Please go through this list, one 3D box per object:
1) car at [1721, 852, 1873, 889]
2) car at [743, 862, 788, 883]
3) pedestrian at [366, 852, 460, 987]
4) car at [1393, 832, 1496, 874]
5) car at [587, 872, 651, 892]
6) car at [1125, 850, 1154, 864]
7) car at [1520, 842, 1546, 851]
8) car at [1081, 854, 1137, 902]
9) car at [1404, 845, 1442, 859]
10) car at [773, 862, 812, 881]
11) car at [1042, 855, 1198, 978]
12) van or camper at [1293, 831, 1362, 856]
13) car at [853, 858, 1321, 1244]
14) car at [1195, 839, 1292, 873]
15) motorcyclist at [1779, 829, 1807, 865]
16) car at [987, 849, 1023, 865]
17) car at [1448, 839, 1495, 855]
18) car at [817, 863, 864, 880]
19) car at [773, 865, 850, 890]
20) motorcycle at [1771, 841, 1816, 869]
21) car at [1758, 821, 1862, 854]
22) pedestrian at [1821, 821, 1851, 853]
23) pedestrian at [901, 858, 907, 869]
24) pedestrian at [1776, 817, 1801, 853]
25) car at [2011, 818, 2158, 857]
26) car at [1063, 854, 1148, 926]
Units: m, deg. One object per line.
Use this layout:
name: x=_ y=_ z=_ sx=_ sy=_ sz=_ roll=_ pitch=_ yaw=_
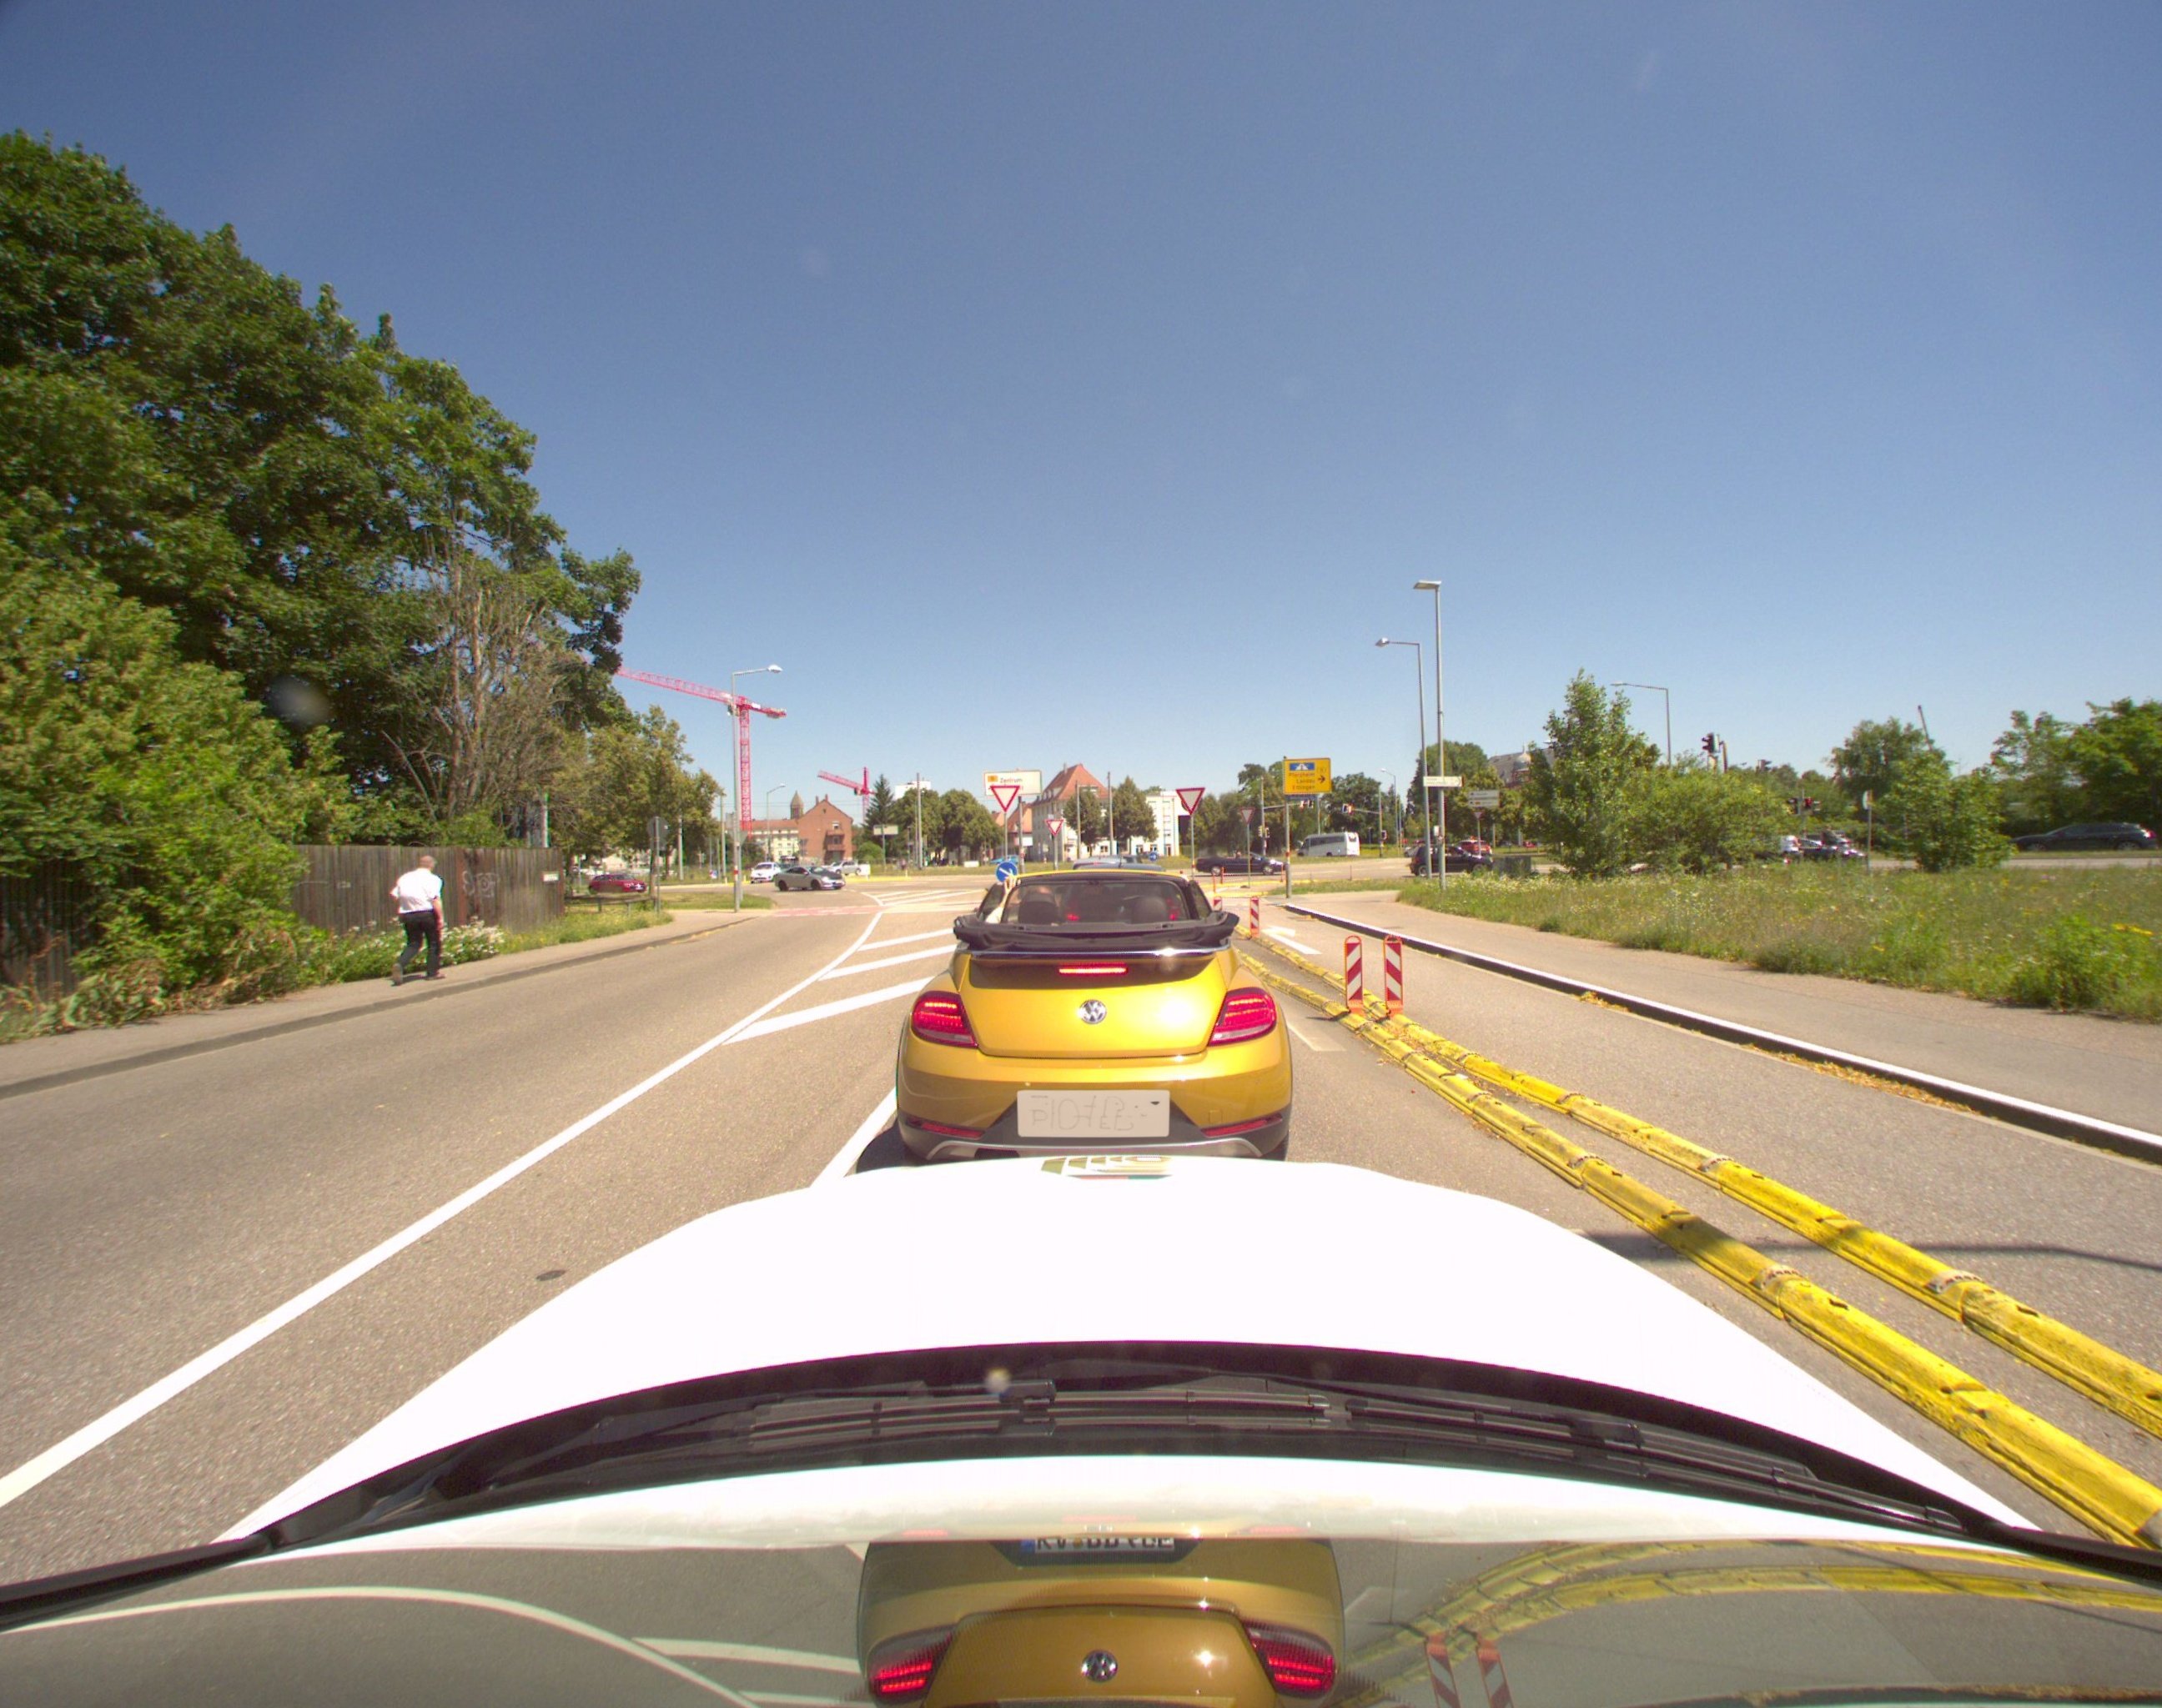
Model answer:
car: x=30.208 y=0.697 z=34.548 sx=4.479 sy=1.447 sz=1.832 roll=-1 pitch=0 yaw=21
car: x=-24.639 y=1.424 z=63.728 sx=1.749 sy=1.549 sz=4.002 roll=-1 pitch=0 yaw=2
pedestrian: x=-9.410 y=0.897 z=11.494 sx=0.590 sy=1.825 sz=0.851 roll=-1 pitch=0 yaw=2
car: x=16.471 y=-0.028 z=37.101 sx=3.960 sy=1.816 sz=2.007 roll=-1 pitch=0 yaw=12
car: x=-31.187 y=1.888 z=54.961 sx=3.615 sy=1.316 sz=1.832 roll=-1 pitch=0 yaw=20
car: x=6.922 y=0.318 z=96.799 sx=3.196 sy=1.606 sz=1.656 roll=-1 pitch=0 yaw=12
car: x=84.814 y=-1.427 z=152.828 sx=3.996 sy=1.714 sz=1.989 roll=-1 pitch=0 yaw=-17
car: x=0.935 y=0.759 z=27.592 sx=1.730 sy=1.477 sz=4.002 roll=-1 pitch=0 yaw=2
car: x=36.749 y=-0.232 z=87.591 sx=1.656 sy=1.424 sz=3.767 roll=-1 pitch=0 yaw=-22
car: x=-24.560 y=1.443 z=69.445 sx=1.749 sy=1.549 sz=4.002 roll=-1 pitch=0 yaw=2
car: x=0.533 y=0.758 z=11.775 sx=1.841 sy=1.442 sz=4.002 roll=-1 pitch=0 yaw=2
van or camper: x=28.019 y=-1.187 z=92.869 sx=2.524 sy=2.693 sz=7.430 roll=-1 pitch=0 yaw=-36
car: x=0.072 y=0.758 z=4.969 sx=1.746 sy=1.422 sz=3.779 roll=-1 pitch=0 yaw=1
car: x=8.653 y=0.107 z=43.505 sx=4.906 sy=1.656 sz=2.006 roll=-1 pitch=0 yaw=10
motorcyclist: x=25.819 y=-0.252 z=29.537 sx=0.616 sy=1.289 sz=0.576 roll=-1 pitch=-1 yaw=-27
car: x=-9.216 y=0.414 z=98.675 sx=3.998 sy=1.838 sz=1.988 roll=-1 pitch=0 yaw=-18
car: x=33.157 y=-0.604 z=69.290 sx=1.651 sy=1.300 sz=3.779 roll=-1 pitch=0 yaw=-13
car: x=-23.290 y=1.662 z=79.083 sx=1.690 sy=1.500 sz=4.247 roll=-1 pitch=0 yaw=34
car: x=-14.846 y=1.276 z=44.817 sx=4.222 sy=1.316 sz=1.834 roll=-1 pitch=0 yaw=35
motorcycle: x=25.799 y=0.036 z=29.491 sx=1.712 sy=0.970 sz=0.625 roll=-1 pitch=0 yaw=-28
car: x=41.873 y=-0.916 z=46.840 sx=2.011 sy=1.717 sz=4.324 roll=-1 pitch=0 yaw=-44
pedestrian: x=37.818 y=-0.826 z=40.790 sx=0.787 sy=1.563 sz=0.825 roll=-1 pitch=0 yaw=12
pedestrian: x=-24.186 y=1.310 z=111.112 sx=0.492 sy=1.563 sz=0.596 roll=-2 pitch=0 yaw=35
pedestrian: x=36.738 y=-0.972 z=42.295 sx=0.647 sy=1.870 sz=0.737 roll=-1 pitch=-1 yaw=3
car: x=50.673 y=-0.795 z=41.304 sx=2.011 sy=1.806 sz=4.551 roll=-1 pitch=0 yaw=-43
car: x=0.576 y=0.751 z=18.793 sx=1.730 sy=1.442 sz=4.002 roll=-1 pitch=0 yaw=2
